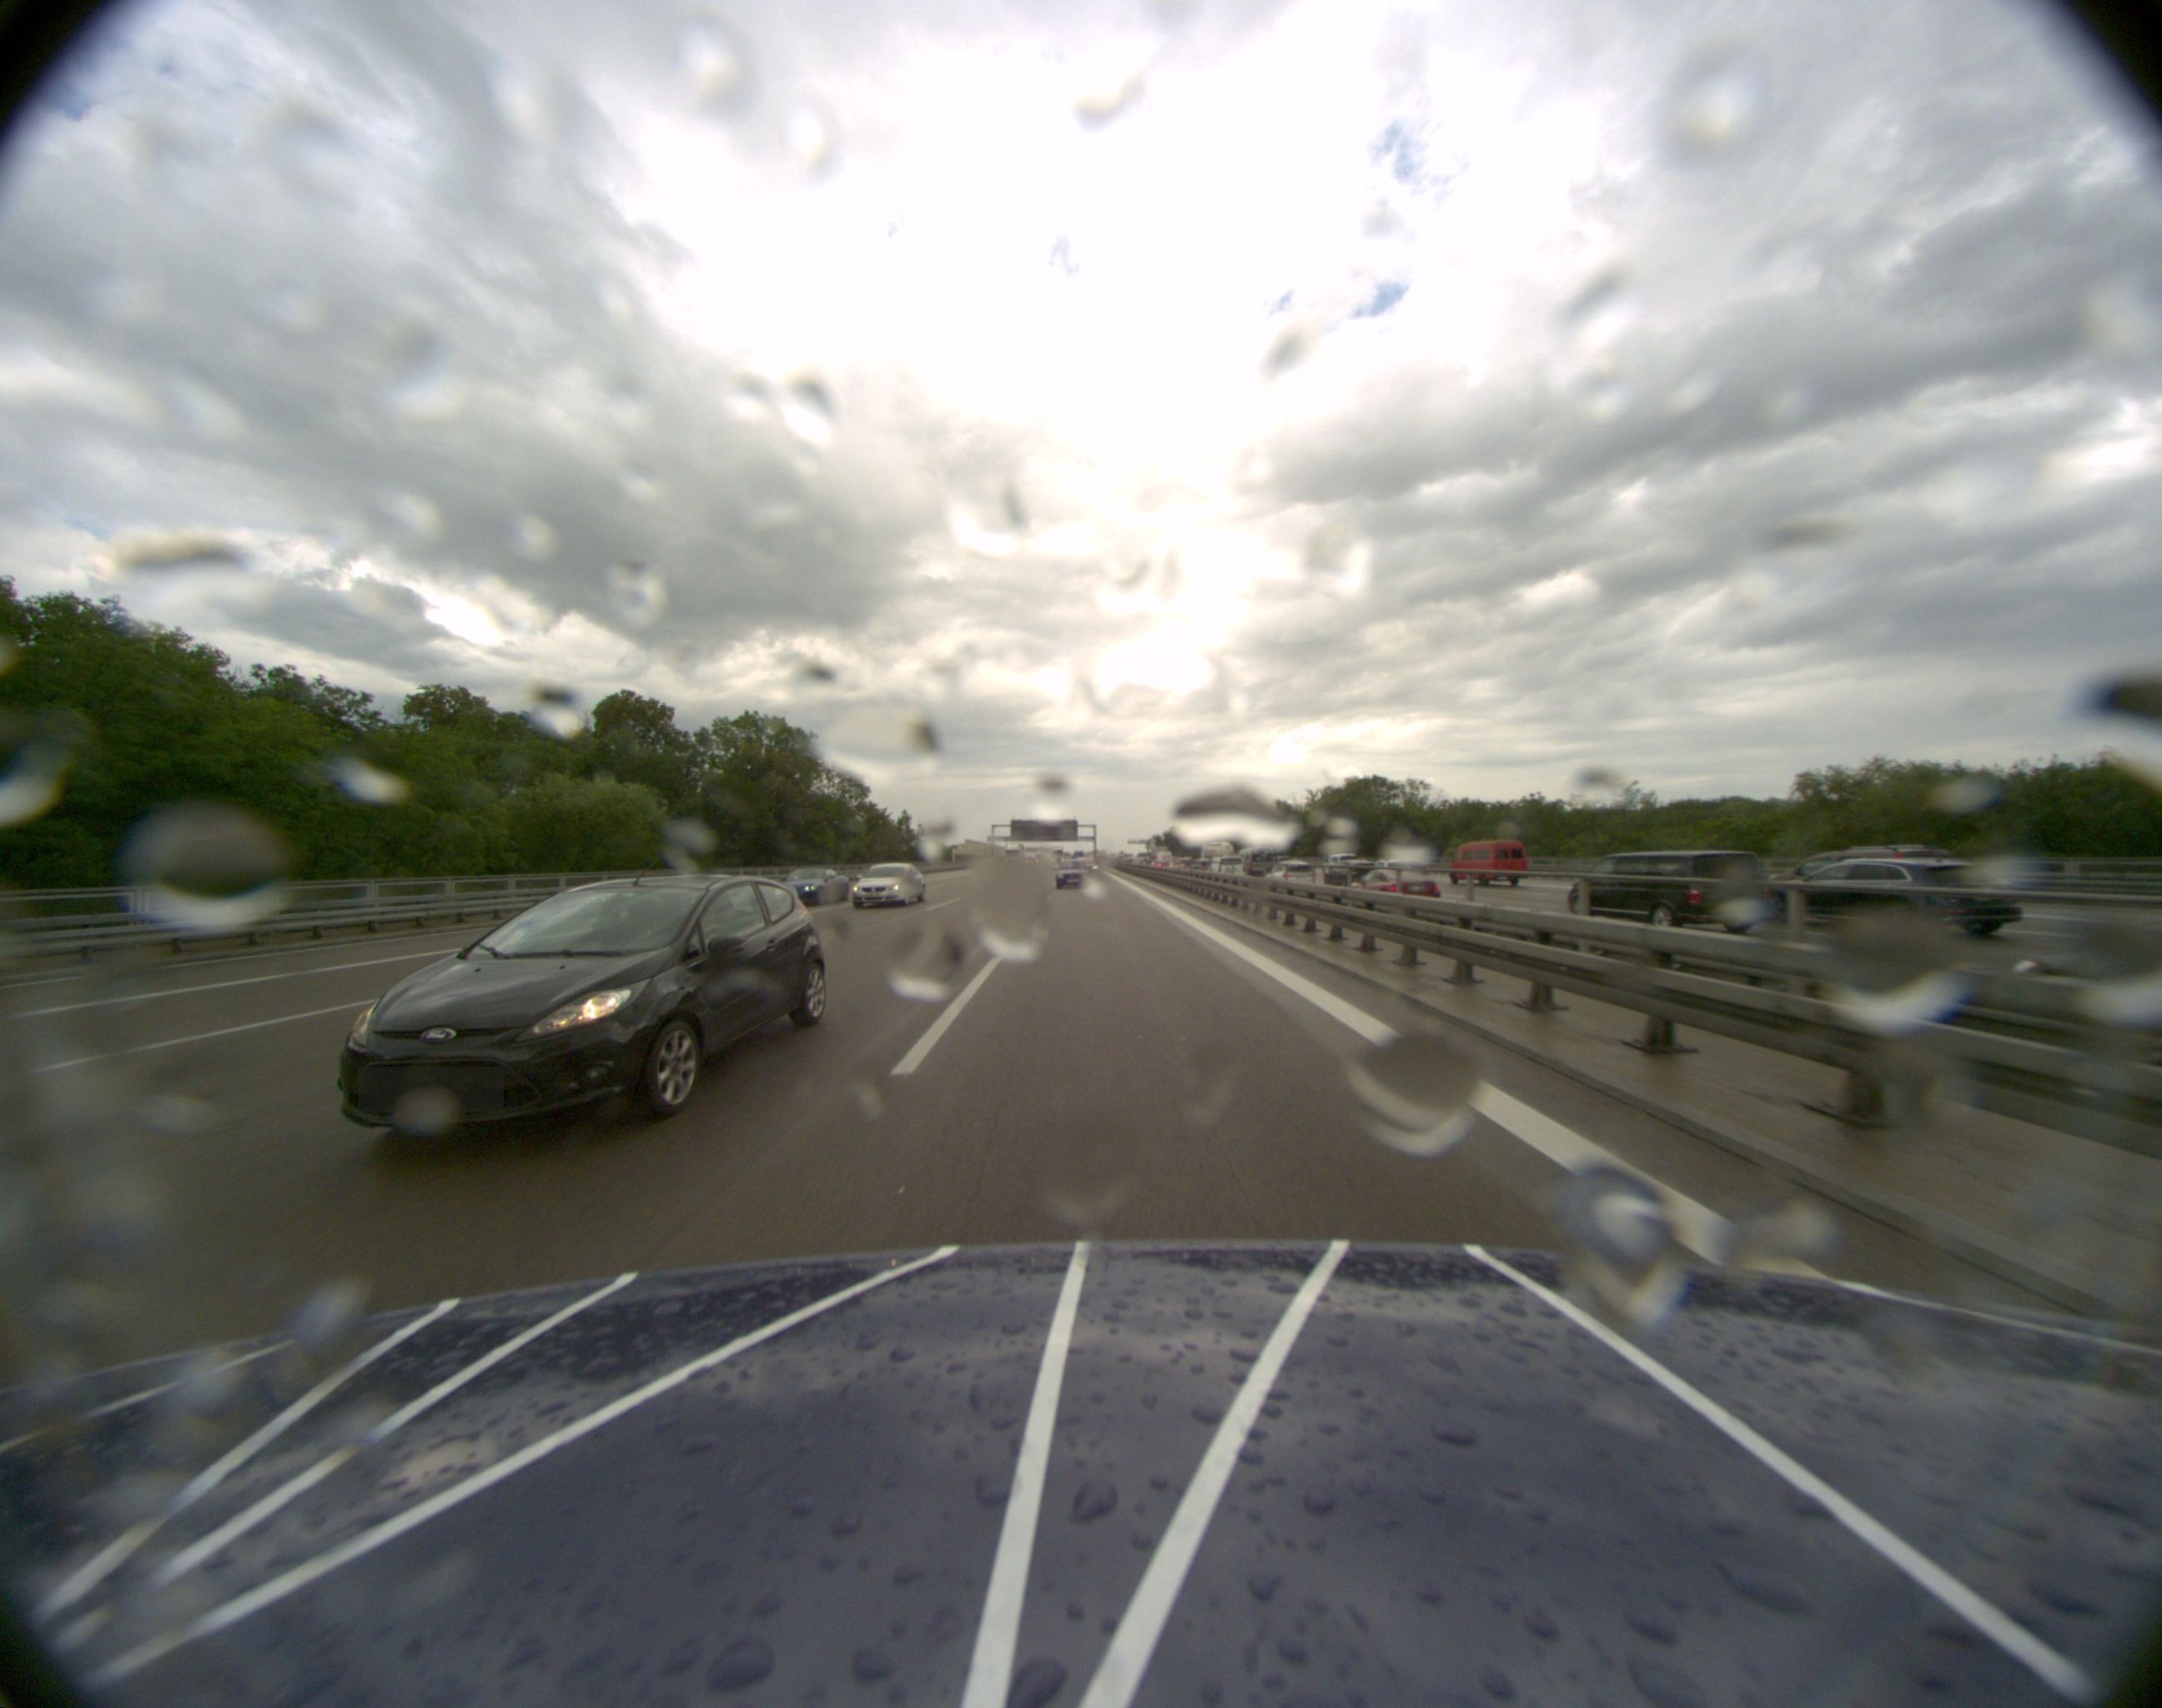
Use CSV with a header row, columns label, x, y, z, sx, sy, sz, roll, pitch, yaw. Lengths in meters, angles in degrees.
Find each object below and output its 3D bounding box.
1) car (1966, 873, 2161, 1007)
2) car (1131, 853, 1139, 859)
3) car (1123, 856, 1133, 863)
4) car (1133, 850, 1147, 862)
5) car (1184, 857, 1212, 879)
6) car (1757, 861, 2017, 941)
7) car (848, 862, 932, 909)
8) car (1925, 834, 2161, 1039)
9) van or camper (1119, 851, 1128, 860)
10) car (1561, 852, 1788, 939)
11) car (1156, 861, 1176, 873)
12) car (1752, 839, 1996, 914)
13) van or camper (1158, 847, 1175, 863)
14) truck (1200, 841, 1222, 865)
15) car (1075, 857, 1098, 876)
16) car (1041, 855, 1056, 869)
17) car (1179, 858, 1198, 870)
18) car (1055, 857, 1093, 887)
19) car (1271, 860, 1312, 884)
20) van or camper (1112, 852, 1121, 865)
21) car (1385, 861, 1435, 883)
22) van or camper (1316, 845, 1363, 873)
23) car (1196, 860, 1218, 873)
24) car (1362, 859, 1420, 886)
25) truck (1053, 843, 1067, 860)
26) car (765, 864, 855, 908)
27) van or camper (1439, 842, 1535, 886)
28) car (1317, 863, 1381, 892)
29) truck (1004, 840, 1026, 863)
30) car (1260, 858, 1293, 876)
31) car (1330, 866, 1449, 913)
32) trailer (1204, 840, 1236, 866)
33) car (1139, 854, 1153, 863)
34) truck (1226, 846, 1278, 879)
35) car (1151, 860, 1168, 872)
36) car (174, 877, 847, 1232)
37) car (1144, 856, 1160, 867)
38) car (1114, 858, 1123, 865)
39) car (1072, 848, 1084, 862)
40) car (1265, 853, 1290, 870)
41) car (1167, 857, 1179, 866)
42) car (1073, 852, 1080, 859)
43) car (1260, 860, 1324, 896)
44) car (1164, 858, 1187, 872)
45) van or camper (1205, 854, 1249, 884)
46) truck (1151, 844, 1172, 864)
label,x,y,z,sx,sy,sz,roll,pitch,yaw
car,14.205,1.075,9.137,1.868,1.603,4.462,0,0,-2
car,16.267,0.597,228.902,2.025,1.504,4.000,-1,0,-1
car,9.542,1.119,154.715,1.674,1.497,4.000,-1,0,-1
car,10.183,0.408,131.359,1.858,1.974,5.037,-1,0,-1
car,10.722,1.219,69.937,1.953,1.937,4.725,-1,0,1
car,18.185,0.976,17.456,1.681,1.570,3.999,0,0,-1
car,-6.607,1.052,26.765,1.898,1.438,4.245,-1,0,-1
car,10.563,0.720,5.779,1.871,1.815,5.708,-1,0,-1
van or camper,12.467,0.423,223.380,2.455,2.562,5.421,-1,0,-1
car,14.545,0.910,19.106,1.897,1.891,5.002,0,0,2
car,10.499,1.591,94.624,1.957,1.505,5.071,-1,0,1
car,22.729,0.592,22.133,2.082,1.933,4.758,0,0,-2
van or camper,14.342,0.224,127.939,2.039,2.589,7.457,0,0,-1
truck,21.947,-0.085,128.345,2.468,3.942,6.982,-1,0,-1
car,0.482,1.001,63.136,1.751,1.489,4.015,-1,0,1
car,-4.475,1.062,105.157,1.962,1.831,3.999,-1,0,-1
car,15.011,1.324,106.344,1.836,1.638,4.419,-1,0,-1
car,-0.344,0.877,38.546,1.781,1.399,5.016,-1,0,-1
car,14.791,1.224,53.599,1.681,1.626,3.999,0,0,-1
van or camper,9.163,1.187,198.508,2.007,3.381,4.368,-1,0,-1
car,23.087,1.239,53.524,1.489,1.466,4.611,-1,0,-1
van or camper,22.591,0.439,66.706,2.051,2.316,5.934,0,0,-1
car,15.119,1.506,91.447,1.836,1.466,4.576,-1,0,0
car,18.575,1.091,45.718,1.795,1.492,3.999,0,0,-2
truck,-5.109,-0.532,183.652,2.958,3.777,12.324,-2,0,-3
car,-10.160,1.155,28.884,1.781,1.438,4.587,-1,0,-1
van or camper,22.617,0.569,42.675,1.945,2.291,6.235,-1,-1,-1
car,14.682,1.252,41.903,1.681,1.401,5.015,0,0,-1
truck,-11.658,-0.459,135.234,3.255,3.884,12.311,-2,0,-3
car,19.209,1.206,74.772,1.836,1.699,5.066,-1,0,-1
car,10.606,1.169,26.623,1.878,1.384,5.364,-1,0,-1
trailer,22.048,-0.123,121.116,2.468,3.934,13.218,-1,0,-1
car,10.121,0.693,118.351,1.684,1.480,4.226,-1,0,-1
truck,14.554,0.707,65.267,2.152,2.587,8.754,-1,0,-3
car,10.631,1.575,103.177,1.794,1.617,4.927,-1,0,1
car,-3.287,0.988,5.684,1.668,1.431,4.405,-1,0,0
car,10.181,1.088,109.000,1.794,1.501,4.602,-1,0,-1
car,9.076,1.825,184.049,1.826,1.831,4.034,-1,0,-1
car,-0.572,0.243,135.033,1.998,2.354,4.172,-2,0,0
car,22.005,0.779,85.259,1.725,1.820,4.000,-1,0,0
car,17.423,1.379,144.052,1.624,1.606,4.000,-1,0,-1
car,-1.351,0.399,220.258,1.998,2.002,3.507,-2,0,0
car,10.684,1.175,38.867,1.830,1.665,5.358,-1,0,0
car,10.456,1.206,84.362,1.836,1.466,5.924,-1,0,0
van or camper,10.473,1.050,55.002,1.989,2.055,5.642,-1,0,-1
truck,17.643,0.090,166.525,3.266,4.267,10.868,-1,0,-1
